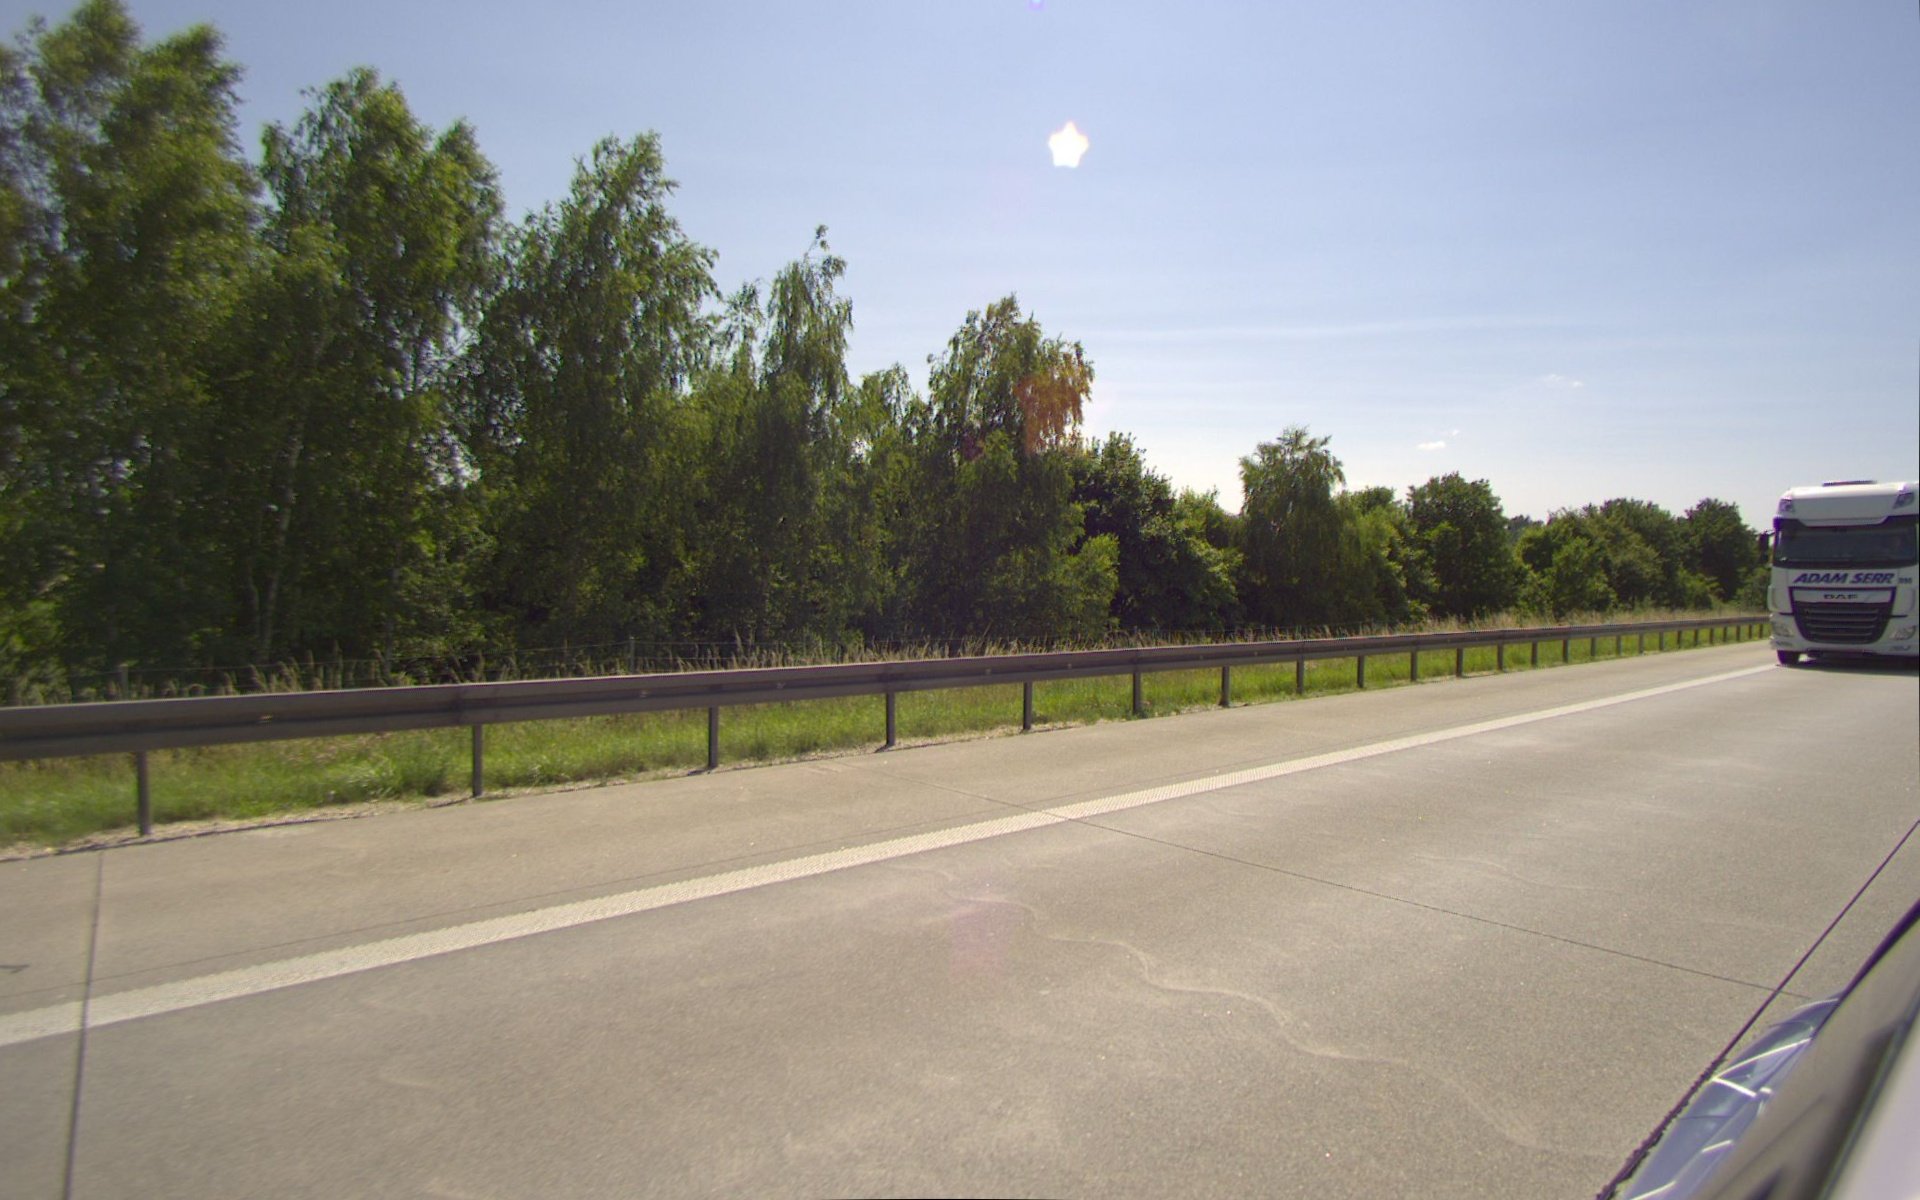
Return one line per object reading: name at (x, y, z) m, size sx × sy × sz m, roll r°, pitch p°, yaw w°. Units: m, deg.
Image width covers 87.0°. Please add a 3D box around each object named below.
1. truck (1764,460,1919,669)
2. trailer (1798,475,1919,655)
truck at (20.538, -0.737, 22.780) m, size 5.697 × 4.139 × 2.817 m, roll 0°, pitch 1°, yaw -41°
trailer at (25.985, -0.839, 27.667) m, size 12.493 × 4.093 × 2.857 m, roll 0°, pitch 1°, yaw -42°
